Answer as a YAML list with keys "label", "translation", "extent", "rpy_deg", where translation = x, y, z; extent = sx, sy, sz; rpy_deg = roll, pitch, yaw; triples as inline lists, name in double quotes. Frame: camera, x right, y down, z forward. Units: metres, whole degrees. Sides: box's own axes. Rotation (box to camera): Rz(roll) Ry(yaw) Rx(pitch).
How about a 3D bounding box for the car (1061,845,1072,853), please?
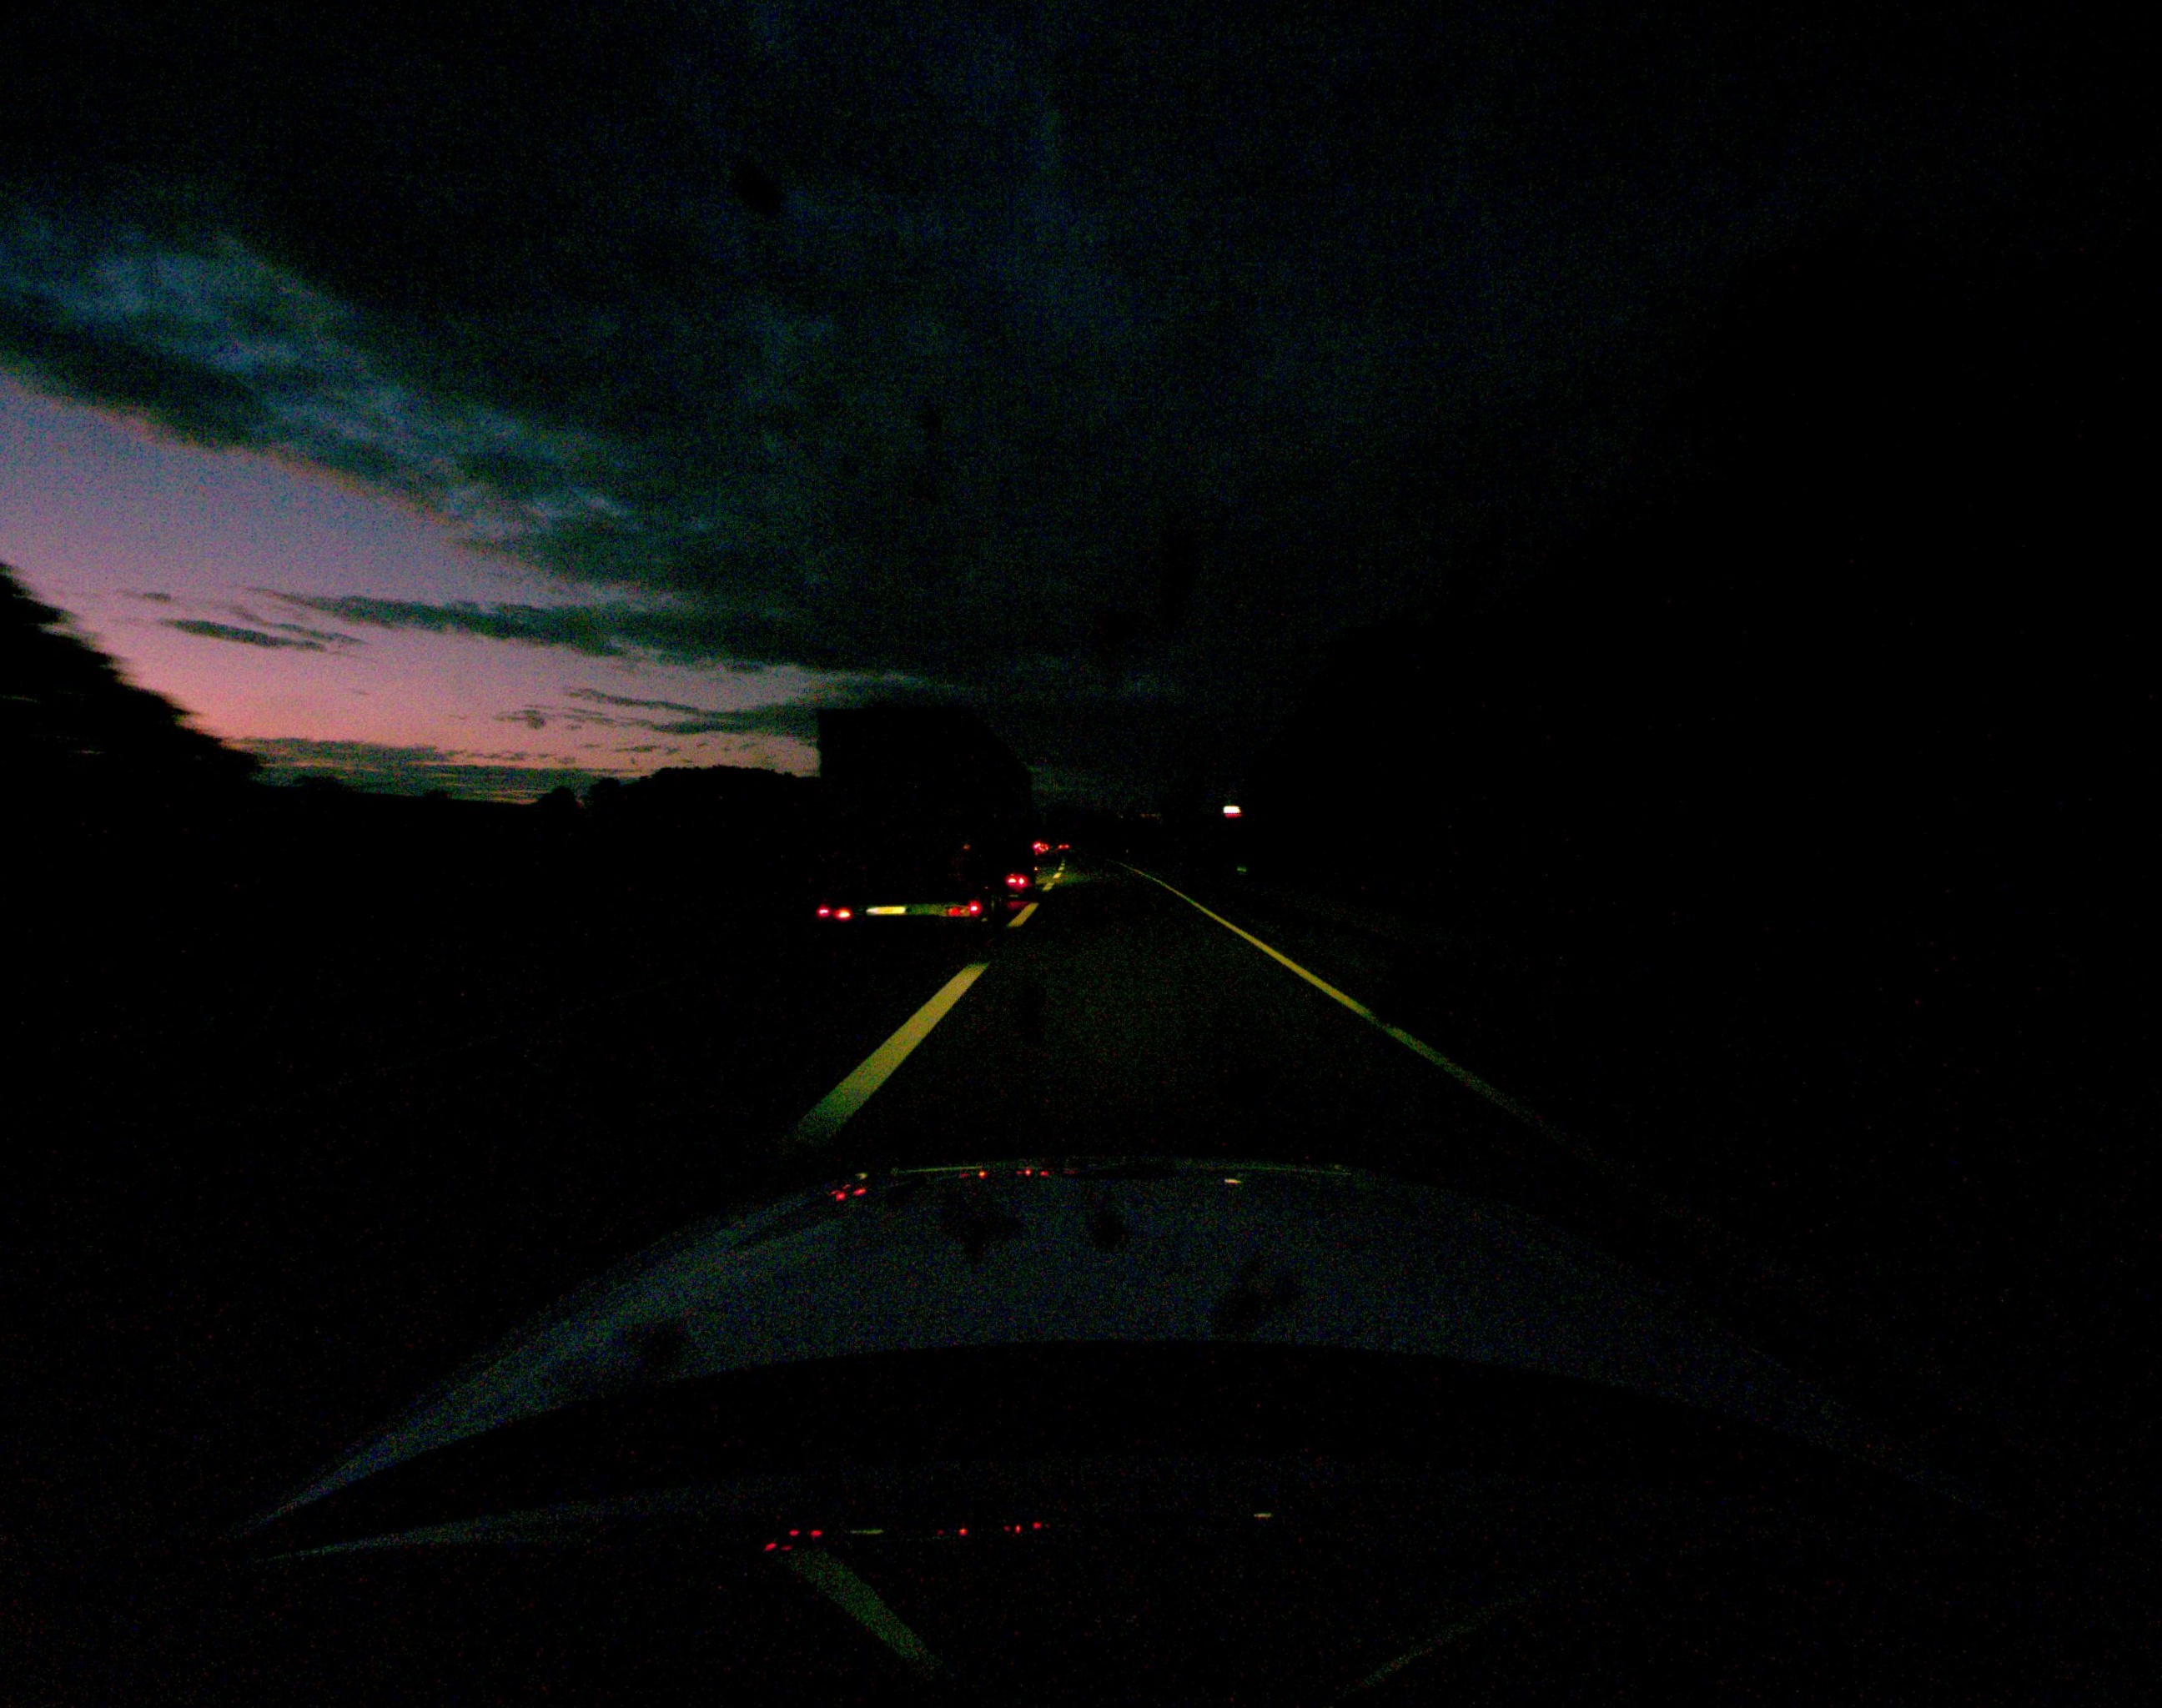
- label: "car"
  translation: [-2.957, -1.012, 163.556]
  extent: [1.989, 1.354, 3.995]
  rpy_deg: [0, -2, -3]

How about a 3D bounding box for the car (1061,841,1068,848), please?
- label: "car"
  translation: [-5.215, -3.106, 260.724]
  extent: [1.989, 2.014, 3.995]
  rpy_deg: [0, -2, -3]

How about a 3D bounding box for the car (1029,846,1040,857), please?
- label: "car"
  translation: [-9.452, -0.516, 165.177]
  extent: [1.987, 2.014, 3.999]
  rpy_deg: [0, -2, 0]

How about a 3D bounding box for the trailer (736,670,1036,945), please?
- label: "trailer"
  translation: [-3.390, -0.662, 19.936]
  extent: [3.538, 4.116, 15.061]
  rpy_deg: [-1, 0, 0]

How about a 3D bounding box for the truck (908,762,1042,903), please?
- label: "truck"
  translation: [-3.286, -0.608, 27.178]
  extent: [3.539, 4.091, 6.150]
  rpy_deg: [-1, -1, 0]

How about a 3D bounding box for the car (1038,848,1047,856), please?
- label: "car"
  translation: [-7.526, -0.412, 159.550]
  extent: [1.880, 1.354, 3.995]
  rpy_deg: [0, -2, -3]
